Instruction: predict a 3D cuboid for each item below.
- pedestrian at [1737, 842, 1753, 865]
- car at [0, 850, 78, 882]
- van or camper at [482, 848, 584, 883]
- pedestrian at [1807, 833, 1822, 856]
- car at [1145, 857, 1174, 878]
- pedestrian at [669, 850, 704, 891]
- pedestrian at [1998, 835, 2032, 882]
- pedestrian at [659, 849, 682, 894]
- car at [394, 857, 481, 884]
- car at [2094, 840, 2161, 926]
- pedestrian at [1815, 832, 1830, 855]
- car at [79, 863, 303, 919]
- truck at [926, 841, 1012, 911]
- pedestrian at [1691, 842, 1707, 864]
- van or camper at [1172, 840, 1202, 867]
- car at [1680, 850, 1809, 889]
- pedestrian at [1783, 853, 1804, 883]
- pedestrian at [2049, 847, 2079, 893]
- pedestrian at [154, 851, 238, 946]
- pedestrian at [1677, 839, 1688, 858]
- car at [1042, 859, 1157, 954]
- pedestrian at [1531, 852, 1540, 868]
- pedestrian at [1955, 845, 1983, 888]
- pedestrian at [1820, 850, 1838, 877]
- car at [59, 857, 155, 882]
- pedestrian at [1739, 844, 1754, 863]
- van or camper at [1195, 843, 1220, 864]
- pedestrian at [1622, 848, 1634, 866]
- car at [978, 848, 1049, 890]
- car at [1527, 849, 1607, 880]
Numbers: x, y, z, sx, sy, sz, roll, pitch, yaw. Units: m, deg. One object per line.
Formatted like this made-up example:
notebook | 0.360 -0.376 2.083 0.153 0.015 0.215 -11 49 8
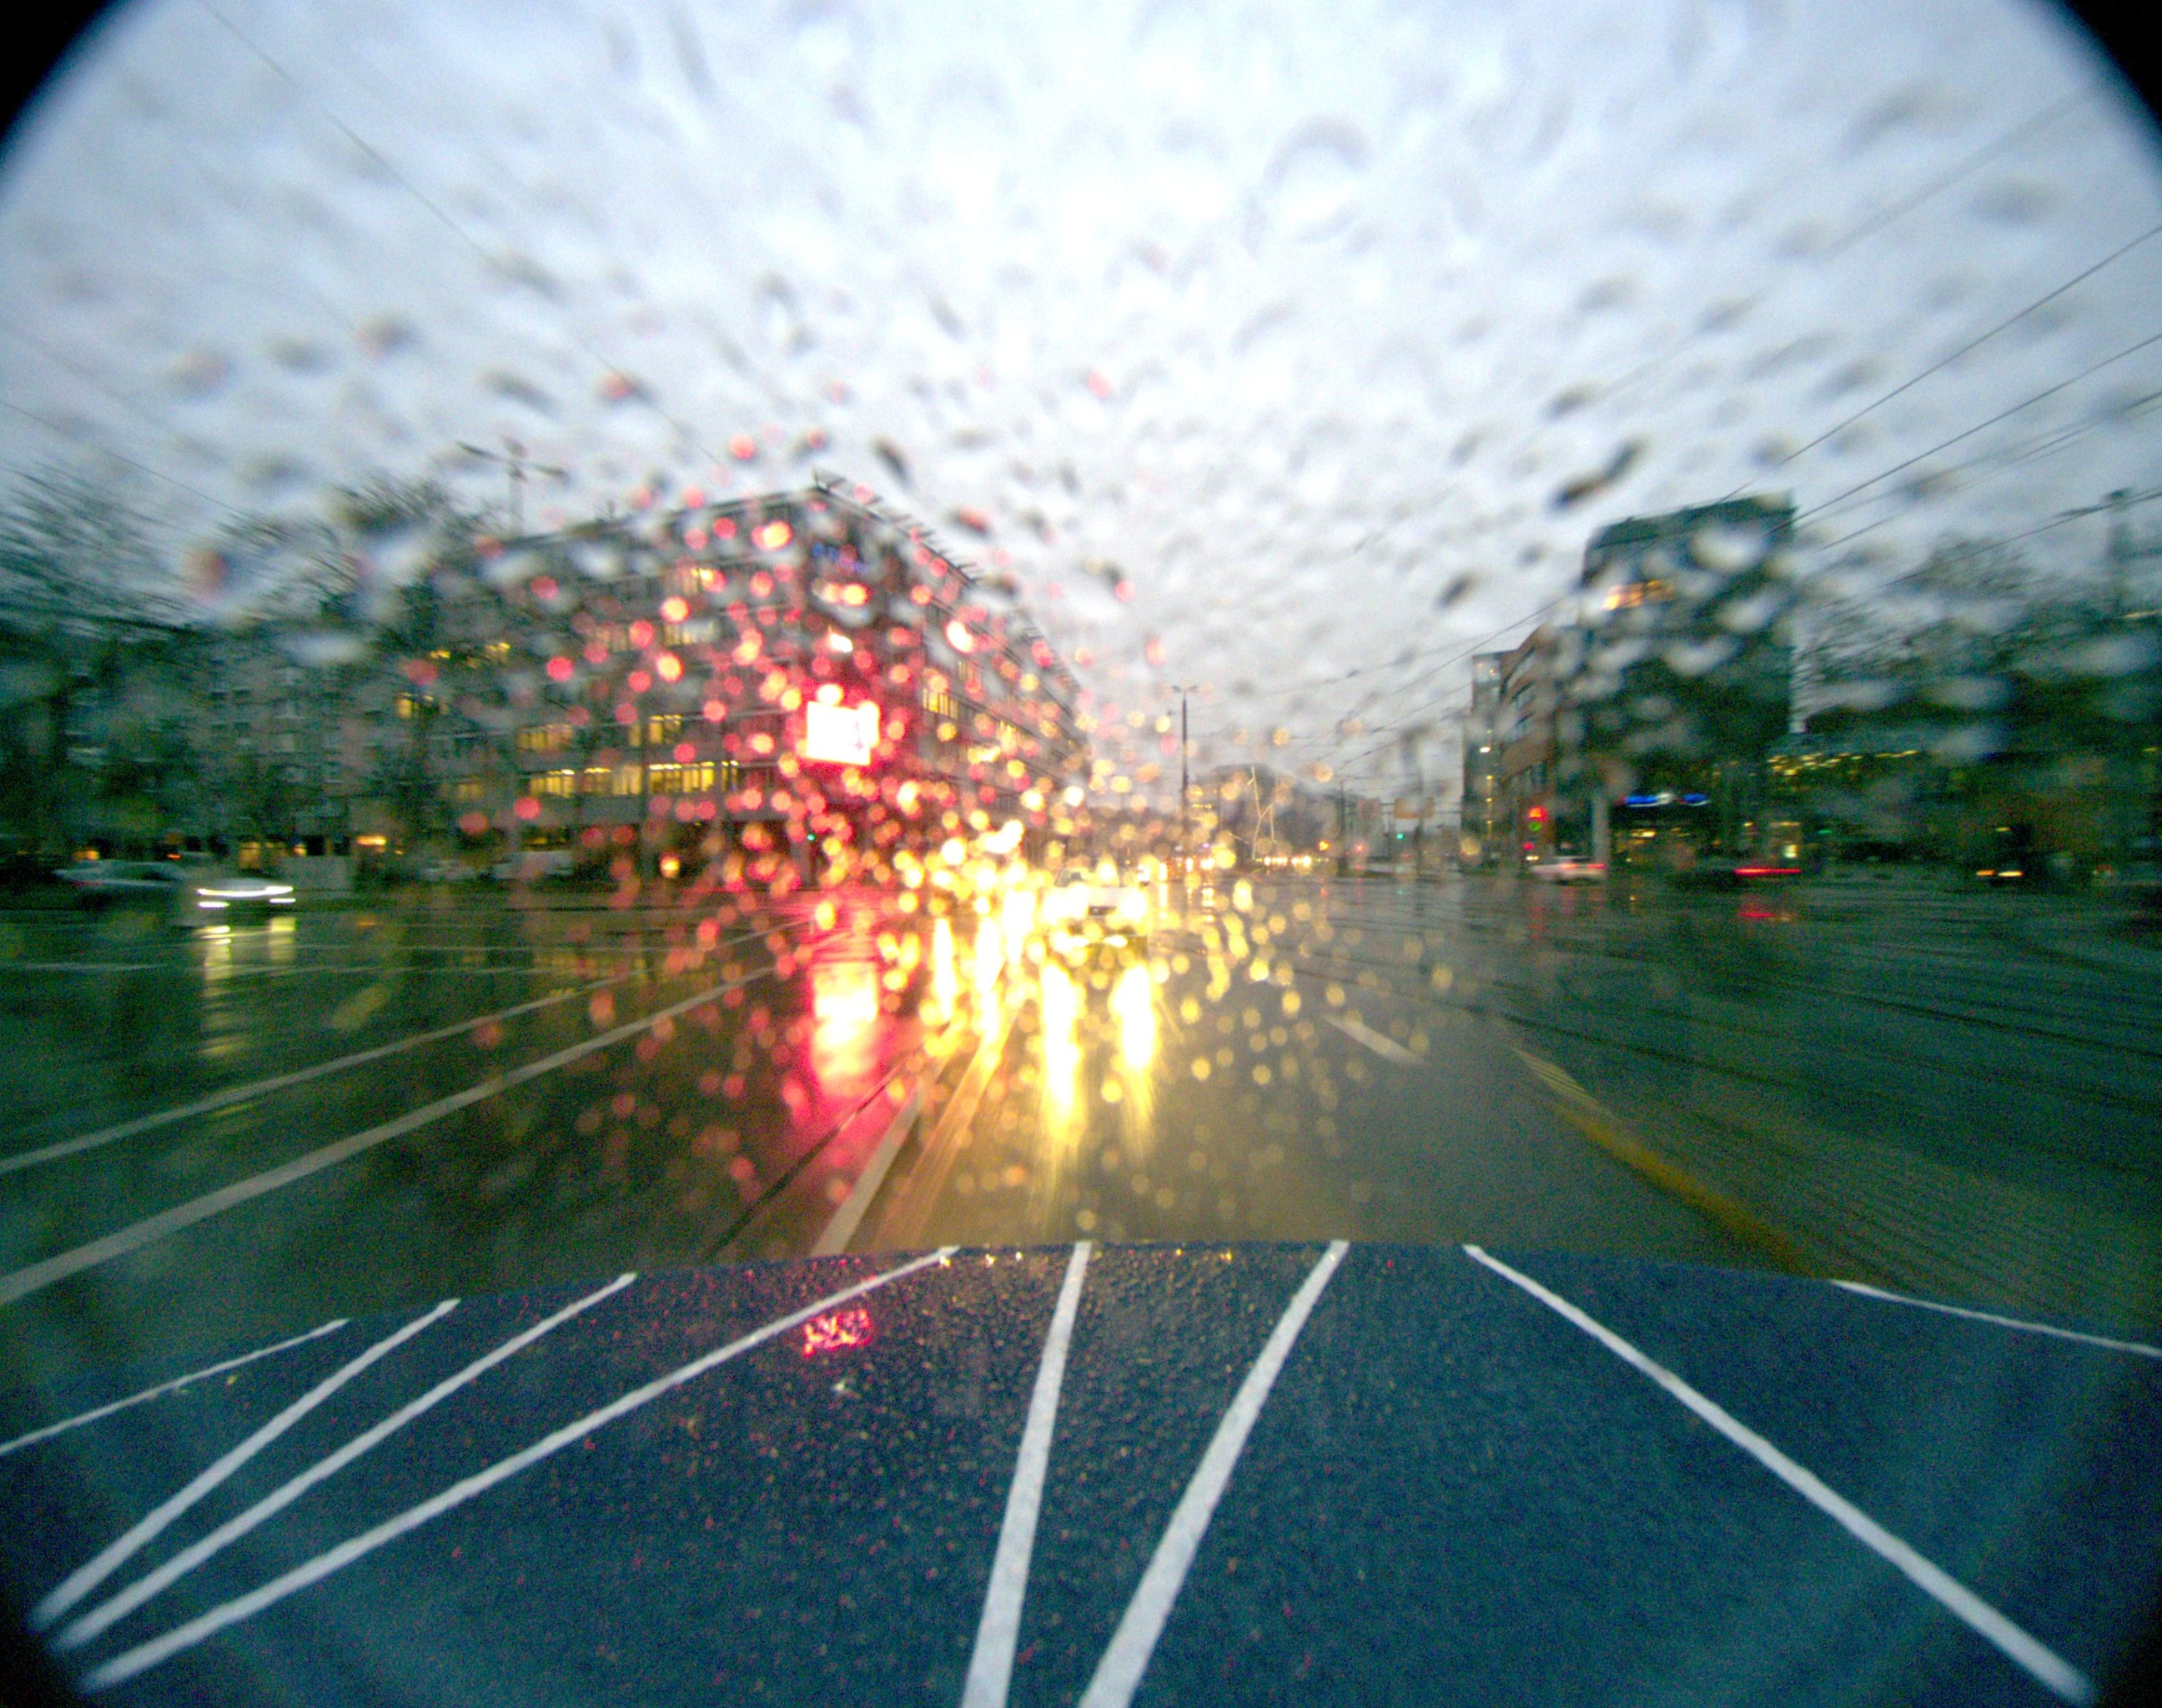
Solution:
pedestrian | 50.660 -0.044 58.001 0.726 1.698 0.695 0 1 23
car | -65.236 0.725 47.171 3.994 1.939 1.843 0 1 8
van or camper | -31.823 0.643 44.186 4.742 1.917 1.842 -1 0 5
pedestrian | 55.607 -0.731 57.584 0.653 1.740 0.446 0 1 14
car | 6.231 1.049 60.062 1.682 1.563 3.765 0 0 15
pedestrian | -17.714 0.729 34.152 1.152 1.776 0.777 0 1 -6
pedestrian | 40.612 0.189 33.047 0.705 2.002 0.760 0 1 29
pedestrian | -16.713 0.707 30.919 0.801 1.800 0.649 -1 1 -30
car | -37.768 0.951 44.661 3.839 1.519 1.643 -1 0 5
car | 22.310 0.573 13.740 1.833 1.699 4.706 -1 0 3
pedestrian | 55.578 -0.778 56.924 0.653 1.740 0.446 0 1 14
car | -23.002 0.930 19.726 3.989 1.333 1.815 0 0 6
truck | -3.350 0.637 23.654 1.909 1.905 4.617 -2 0 0
pedestrian | 46.690 -0.098 57.403 0.740 1.646 0.695 0 1 23
van or camper | 10.497 -0.087 74.779 2.059 2.533 5.891 -2 0 15
car | 27.260 0.604 31.430 1.757 1.496 4.235 0 0 3
pedestrian | 48.190 0.968 51.417 0.707 2.002 0.758 -1 1 -10
pedestrian | 41.878 0.672 32.371 0.528 1.947 0.669 0 1 26
pedestrian | -16.953 0.831 14.573 0.735 1.776 0.735 0 1 0
pedestrian | 54.028 -0.457 68.248 0.691 1.698 0.928 0 1 42
car | 0.402 0.848 14.120 1.773 1.449 4.222 -2 0 3
pedestrian | 35.732 0.440 59.750 0.445 1.257 0.496 -2 1 9
pedestrian | 41.915 0.567 35.862 0.779 2.002 0.706 -1 1 -28
pedestrian | 46.091 0.593 46.808 0.562 1.674 0.596 -1 1 -20
car | -59.735 0.936 46.637 3.994 1.425 1.843 0 1 8
pedestrian | 52.251 -0.036 59.671 0.651 1.494 0.695 0 1 23
van or camper | 15.600 -0.066 93.419 2.182 2.338 5.657 -2 0 18
pedestrian | 45.959 0.250 63.884 0.651 1.494 0.695 0 1 23
car | -3.101 0.668 36.055 1.907 1.808 4.694 -2 0 13
car | 24.974 0.510 39.217 1.671 1.486 4.202 0 0 5
